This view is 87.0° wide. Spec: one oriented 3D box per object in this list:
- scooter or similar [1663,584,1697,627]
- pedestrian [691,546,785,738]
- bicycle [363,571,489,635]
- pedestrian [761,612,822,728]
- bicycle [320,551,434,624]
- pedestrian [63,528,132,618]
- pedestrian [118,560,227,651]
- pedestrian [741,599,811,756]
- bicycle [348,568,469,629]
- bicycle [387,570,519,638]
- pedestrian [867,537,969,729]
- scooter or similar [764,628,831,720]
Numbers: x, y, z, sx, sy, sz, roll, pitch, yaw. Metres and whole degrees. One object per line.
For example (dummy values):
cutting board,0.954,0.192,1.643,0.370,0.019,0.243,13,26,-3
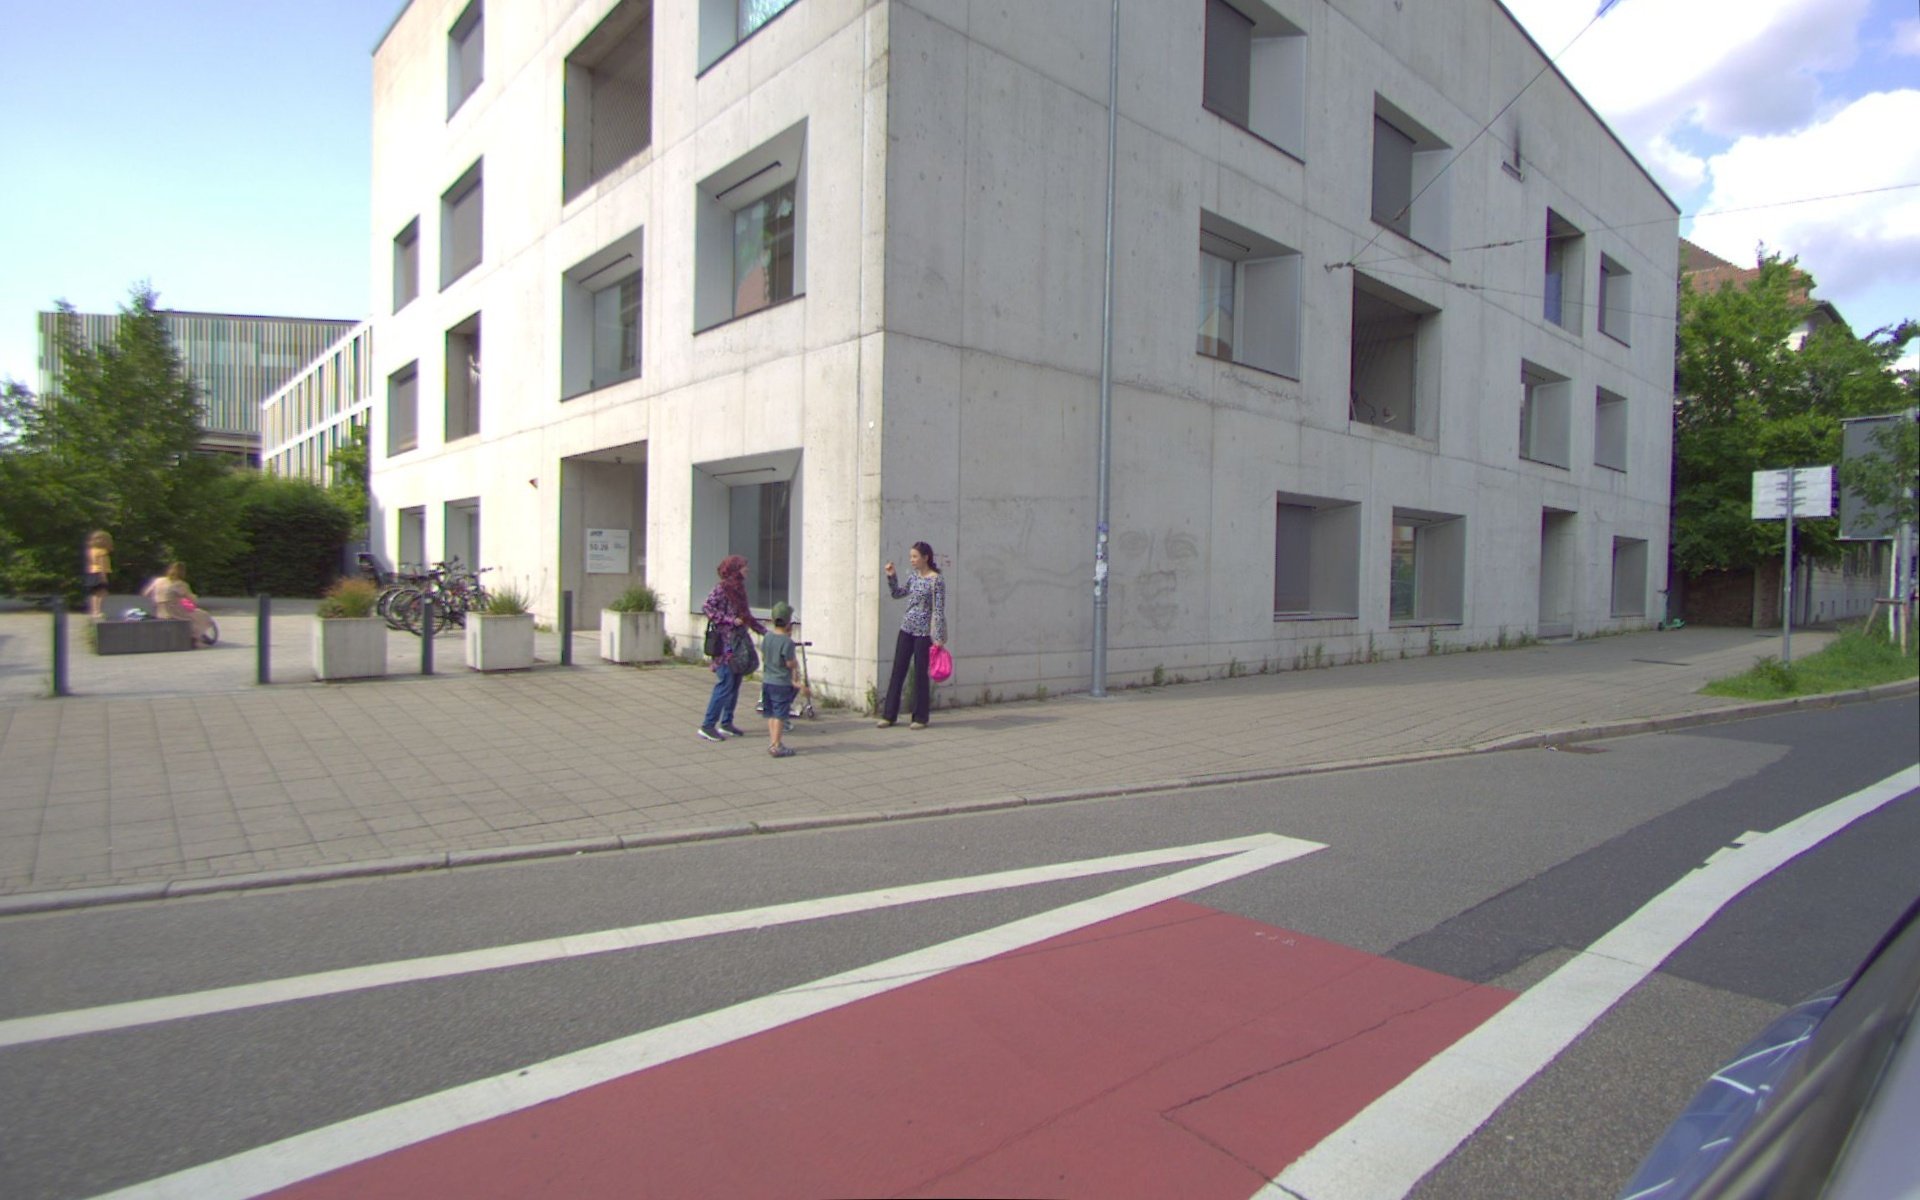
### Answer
scooter or similar,20.488,0.148,28.807,1.125,1.196,0.324,0,1,-30
pedestrian,-1.943,0.346,8.867,0.518,1.600,0.541,4,2,38
bicycle,-9.176,0.033,17.442,0.699,1.030,1.790,4,3,44
pedestrian,-1.552,0.633,9.327,0.342,1.023,0.391,4,2,39
bicycle,-11.255,-0.250,19.576,0.699,1.345,1.790,3,3,44
pedestrian,-12.009,-0.381,14.093,0.583,1.215,0.526,2,1,21
pedestrian,-10.986,0.057,14.144,0.856,1.215,0.912,1,1,-6
pedestrian,-1.508,0.620,8.304,0.417,1.215,0.404,2,4,18
bicycle,-9.890,-0.033,18.187,0.699,1.030,1.790,4,3,44
bicycle,-8.241,0.050,16.495,0.699,1.030,1.790,4,3,44
pedestrian,-0.412,0.296,9.627,0.731,1.745,0.688,3,1,-18
scooter or similar,-1.572,0.707,9.802,0.544,0.810,0.265,5,2,25
